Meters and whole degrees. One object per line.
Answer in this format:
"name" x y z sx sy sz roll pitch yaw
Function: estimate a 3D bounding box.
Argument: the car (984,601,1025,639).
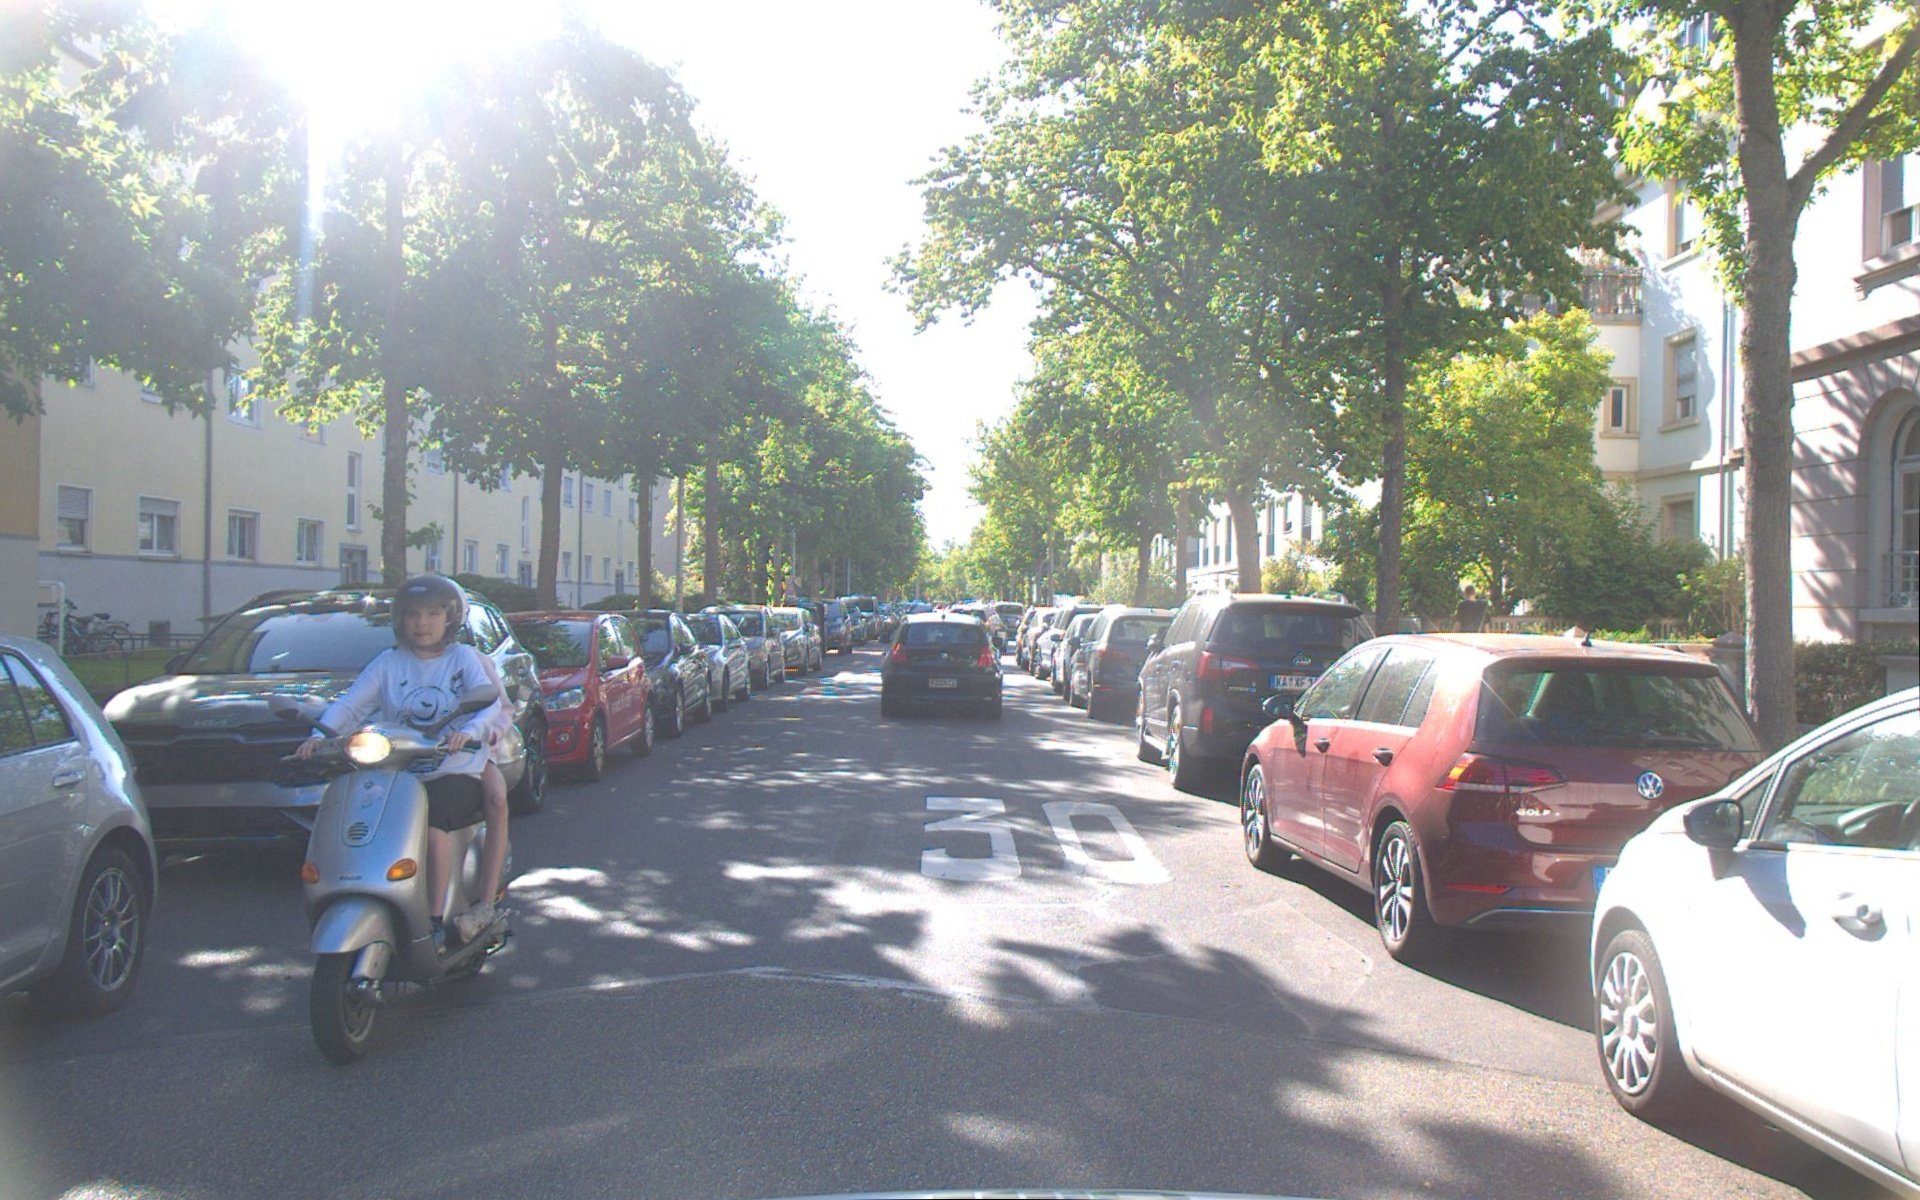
"car" 2.024 0.941 76.545 1.810 1.659 4.410 2 -1 1

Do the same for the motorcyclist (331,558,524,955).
"motorcyclist" -1.991 0.565 6.235 0.541 1.427 0.519 1 0 -1

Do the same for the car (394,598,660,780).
"car" -3.926 0.745 15.493 1.631 1.512 3.256 1 0 0

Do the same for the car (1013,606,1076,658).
"car" 2.462 0.910 49.169 1.665 1.474 4.082 0 0 0

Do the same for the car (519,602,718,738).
"car" -4.092 0.783 20.390 1.631 1.484 3.932 1 0 0

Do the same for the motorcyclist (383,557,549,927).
"motorcyclist" -1.995 0.559 6.712 0.533 1.451 0.404 1 0 -1

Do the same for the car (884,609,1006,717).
"car" -0.228 0.851 23.773 1.616 1.421 3.411 0 0 -1

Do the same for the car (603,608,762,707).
"car" -4.228 0.831 25.865 1.710 1.392 4.673 0 0 0

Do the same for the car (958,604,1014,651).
"car" 0.824 0.882 54.326 1.616 1.450 3.999 0 0 -3

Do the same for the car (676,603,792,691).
"car" -4.272 0.849 31.802 1.587 1.542 4.269 -2 0 0

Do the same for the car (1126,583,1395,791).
"car" 2.725 0.725 15.926 1.744 1.728 4.297 0 0 -1

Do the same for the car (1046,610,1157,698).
"car" 2.473 0.907 29.778 1.596 1.450 4.367 0 0 0

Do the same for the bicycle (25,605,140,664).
"bicycle" -14.415 0.568 27.198 1.600 0.947 0.481 0 0 -4

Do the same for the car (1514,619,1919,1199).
"car" 2.878 0.791 3.990 1.619 1.426 4.134 1 0 -1

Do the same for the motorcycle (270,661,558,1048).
"motorcycle" -1.978 0.859 6.206 0.541 1.196 1.632 1 0 -1

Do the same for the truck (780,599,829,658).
"truck" -4.322 0.770 46.286 1.061 1.605 2.432 0 0 2

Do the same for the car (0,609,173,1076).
"car" -3.858 0.768 4.490 1.725 1.467 3.991 1 0 -4

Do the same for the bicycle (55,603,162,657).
"bicycle" -15.037 0.531 29.238 1.602 0.947 0.480 0 0 -9

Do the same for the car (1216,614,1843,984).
"car" 2.641 0.821 8.824 1.579 1.434 4.348 1 0 -4

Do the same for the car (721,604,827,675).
"car" -4.127 0.847 37.419 1.754 1.470 4.688 -1 0 1

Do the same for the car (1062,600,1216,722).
"car" 2.619 0.847 25.185 1.650 1.615 4.534 3 0 -2

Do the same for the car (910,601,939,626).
"car" -2.095 0.821 99.284 1.474 1.451 3.179 1 0 3

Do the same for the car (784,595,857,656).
"car" -4.243 0.745 50.918 1.812 1.710 4.975 -2 0 -1

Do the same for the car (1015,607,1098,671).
"car" 2.262 0.902 39.539 1.616 1.453 3.611 0 0 -2

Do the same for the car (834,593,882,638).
"car" -4.492 0.676 73.490 1.789 1.938 5.142 -1 0 0

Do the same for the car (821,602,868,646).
"car" -4.347 0.884 62.872 1.477 1.575 4.777 -2 0 -1

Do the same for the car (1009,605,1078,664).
"car" 2.204 0.901 44.601 1.603 1.480 4.099 0 0 -1

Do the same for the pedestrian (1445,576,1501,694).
"pedestrian" 7.955 0.538 25.680 0.609 1.806 0.799 0 0 -1

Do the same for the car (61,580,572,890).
"car" -3.873 0.695 10.911 1.657 1.592 4.733 1 0 -2

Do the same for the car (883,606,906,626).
"car" -4.813 1.148 121.527 1.579 1.416 3.864 0 0 -1

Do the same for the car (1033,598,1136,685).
"car" 2.532 0.817 34.423 1.616 1.684 3.844 1 0 -4
